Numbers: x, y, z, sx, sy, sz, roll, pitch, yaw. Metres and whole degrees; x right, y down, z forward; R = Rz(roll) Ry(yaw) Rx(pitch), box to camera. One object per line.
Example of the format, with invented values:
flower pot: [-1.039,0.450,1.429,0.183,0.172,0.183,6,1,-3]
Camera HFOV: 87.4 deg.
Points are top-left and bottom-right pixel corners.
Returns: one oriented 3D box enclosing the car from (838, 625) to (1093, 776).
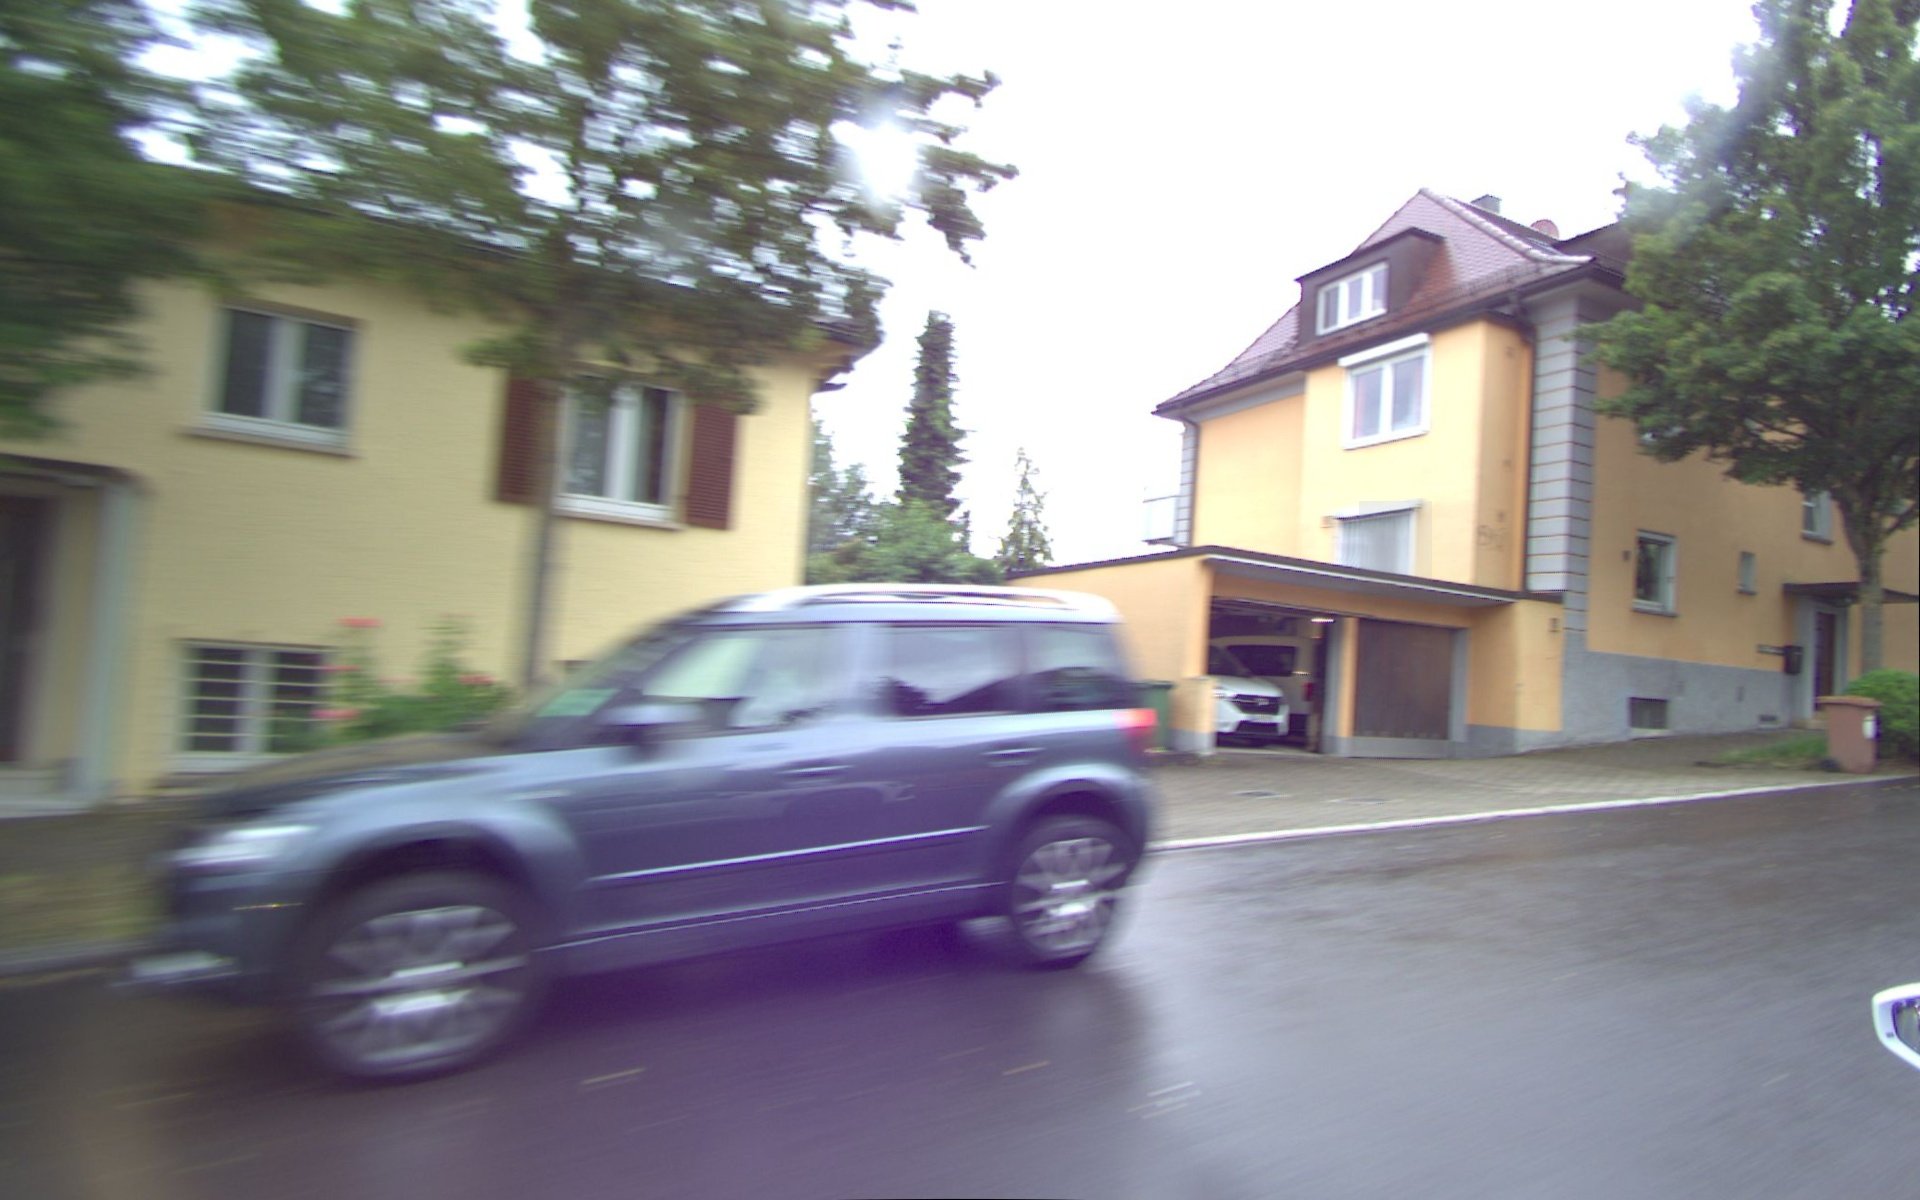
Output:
car: [-0.104,1.216,13.587,1.839,1.668,4.040,2,-2,-26]

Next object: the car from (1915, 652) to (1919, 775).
car: [13.675,1.381,12.115,4.290,1.455,1.762,2,-3,-27]

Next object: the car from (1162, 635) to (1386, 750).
car: [5.595,1.615,18.349,1.824,1.775,3.737,6,-4,-23]

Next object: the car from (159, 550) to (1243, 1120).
car: [-0.874,0.726,4.620,4.055,1.656,1.762,1,0,-26]

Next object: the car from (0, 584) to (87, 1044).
car: [-5.211,0.670,2.272,4.549,1.555,1.761,2,-3,-29]

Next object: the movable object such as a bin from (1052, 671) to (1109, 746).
movable object such as a bin: [1.774,1.585,14.803,0.579,1.037,0.584,2,0,-29]

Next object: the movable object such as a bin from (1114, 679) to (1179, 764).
movable object such as a bin: [2.466,1.595,13.303,0.579,1.037,0.584,2,0,-29]

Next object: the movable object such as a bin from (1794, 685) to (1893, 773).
movable object such as a bin: [10.910,1.576,12.408,0.700,1.024,0.679,2,-5,-31]

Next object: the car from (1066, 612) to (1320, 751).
car: [3.709,1.298,16.848,1.824,1.914,4.370,6,-4,-23]

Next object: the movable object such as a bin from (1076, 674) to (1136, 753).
movable object such as a bin: [2.058,1.589,14.156,0.579,1.037,0.584,2,0,-29]
